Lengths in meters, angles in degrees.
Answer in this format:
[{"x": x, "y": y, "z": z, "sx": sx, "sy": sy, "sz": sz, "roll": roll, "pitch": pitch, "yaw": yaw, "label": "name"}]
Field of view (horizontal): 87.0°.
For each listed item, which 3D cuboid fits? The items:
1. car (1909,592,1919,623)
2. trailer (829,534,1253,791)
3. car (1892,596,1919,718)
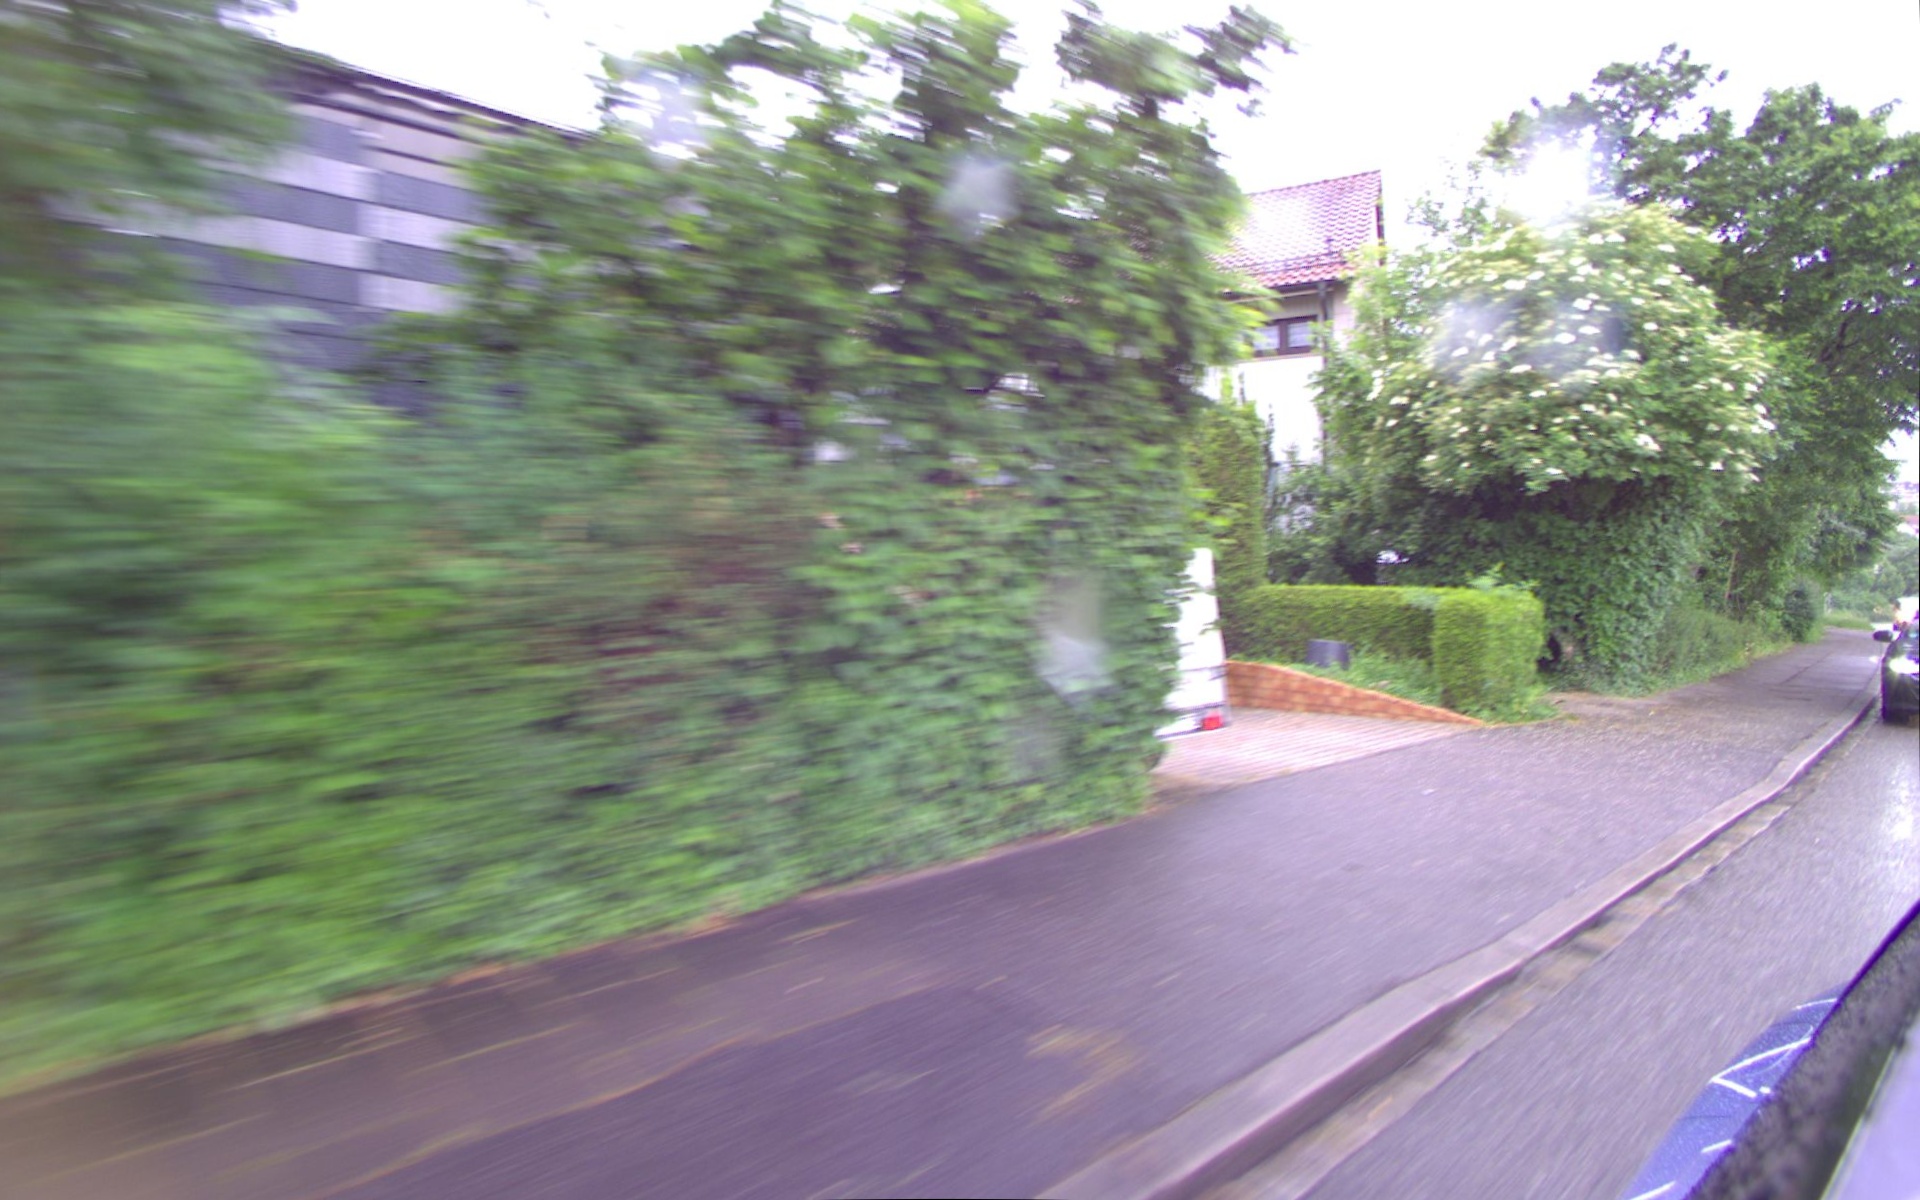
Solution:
[{"x": 53.556, "y": 0.414, "z": 55.778, "sx": 1.698, "sy": 1.701, "sz": 4.218, "roll": 2, "pitch": 2, "yaw": 42, "label": "car"}, {"x": 0.493, "y": 0.529, "z": 7.856, "sx": 1.464, "sy": 1.591, "sz": 2.981, "roll": 0, "pitch": -6, "yaw": -43, "label": "trailer"}, {"x": 13.347, "y": 0.657, "z": 12.904, "sx": 4.212, "sy": 1.396, "sz": 1.842, "roll": -1, "pitch": 0, "yaw": -43, "label": "car"}]
